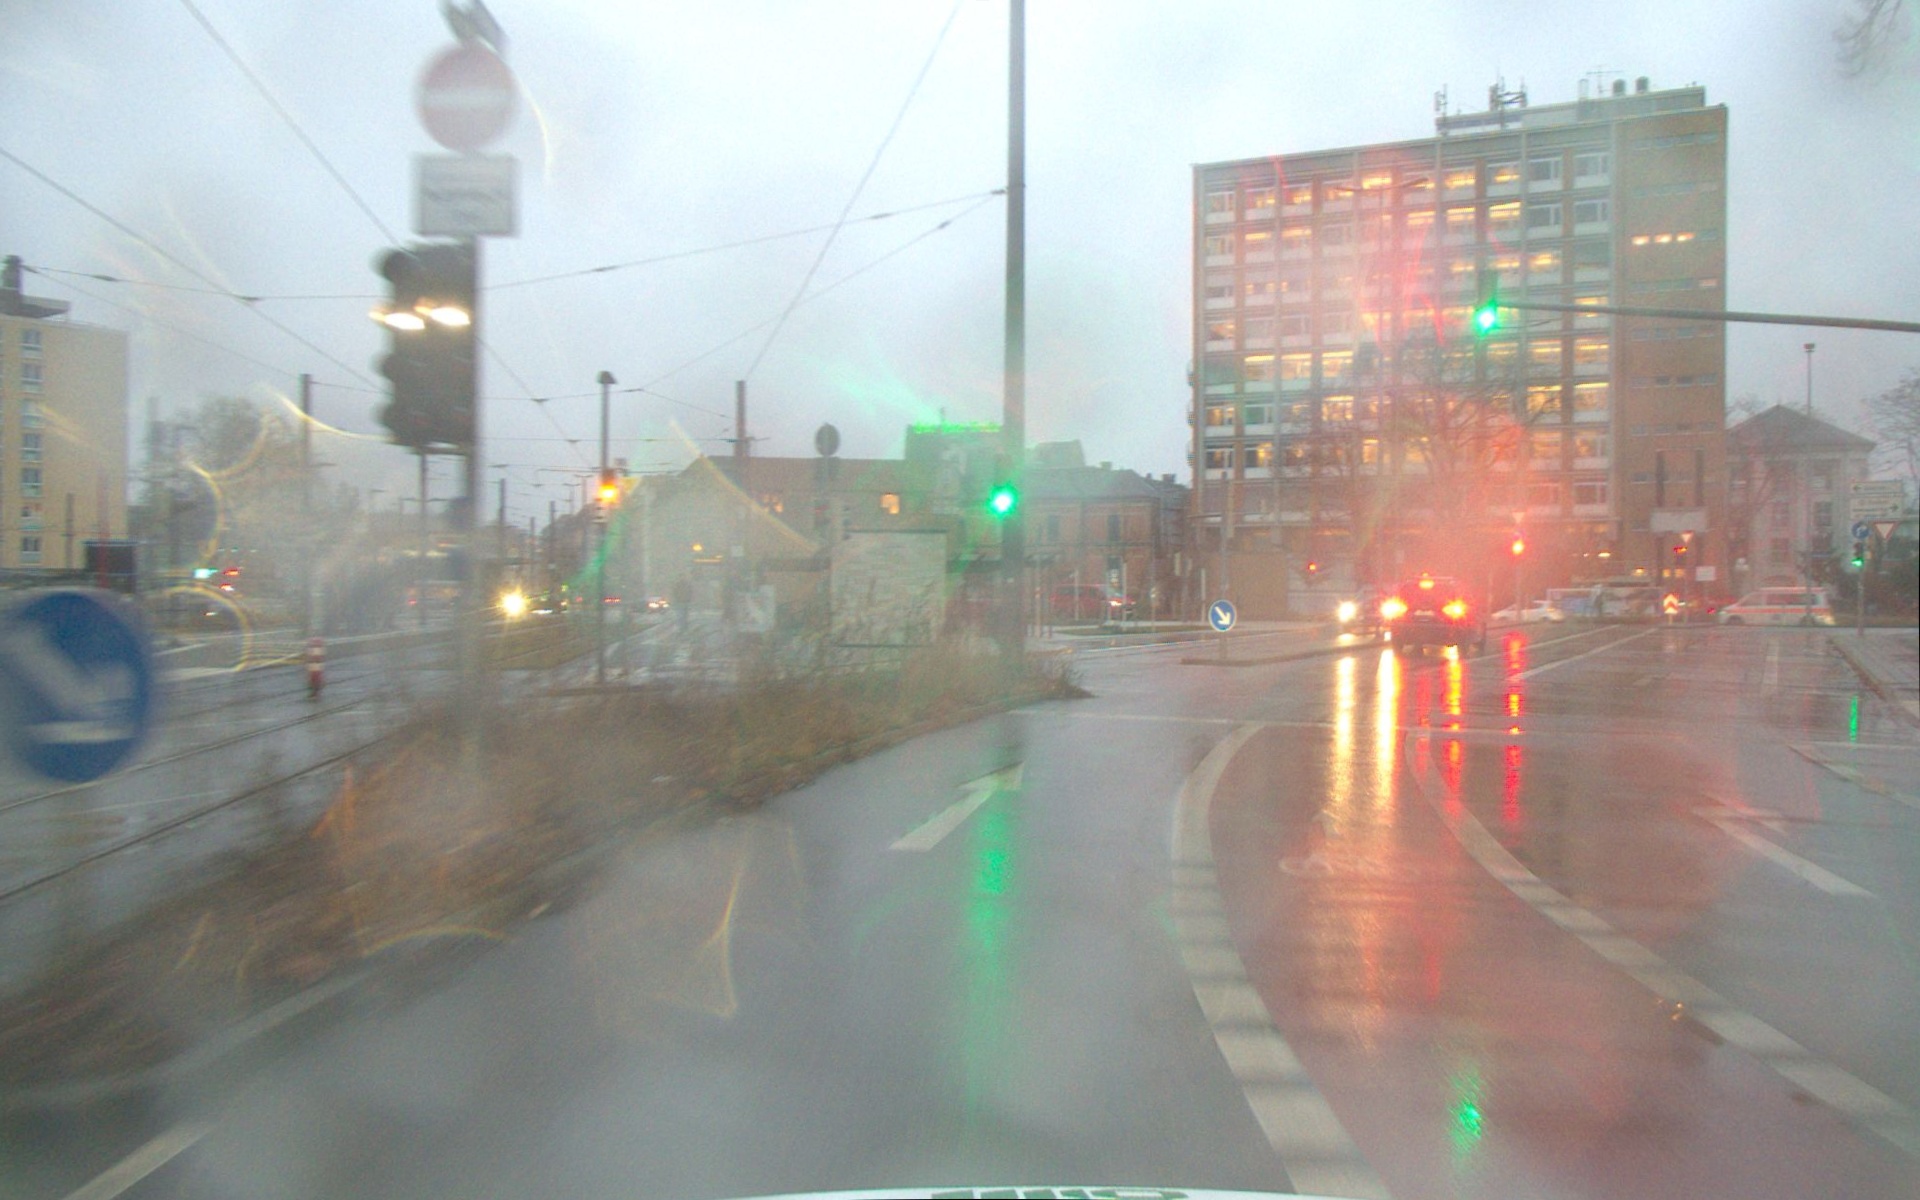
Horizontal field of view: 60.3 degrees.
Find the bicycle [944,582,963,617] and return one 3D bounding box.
[{"bbox_3d":[-0.221,0.004,58.122,0.538,1.185,1.898,2,-1,-3],"label":"bicycle"}]

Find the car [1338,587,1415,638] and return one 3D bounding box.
[{"bbox_3d":[14.369,0.401,56.885,1.719,1.691,4.526,-1,0,26],"label":"car"}]

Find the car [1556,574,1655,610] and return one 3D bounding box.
[{"bbox_3d":[40.452,-0.498,103.648,5.449,2.059,1.994,2,-1,33],"label":"car"}]

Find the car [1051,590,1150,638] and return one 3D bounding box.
[{"bbox_3d":[7.494,0.725,88.520,4.951,2.321,2.243,2,-1,44],"label":"car"}]

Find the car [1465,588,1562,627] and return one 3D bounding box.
[{"bbox_3d":[31.657,0.414,94.624,4.854,2.049,1.990,2,-1,39],"label":"car"}]

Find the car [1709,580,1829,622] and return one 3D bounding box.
[{"bbox_3d":[40.792,0.036,83.446,5.081,1.946,1.987,2,1,43],"label":"car"}]

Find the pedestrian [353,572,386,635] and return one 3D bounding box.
[{"bbox_3d":[-16.960,0.099,47.484,0.699,1.788,0.716,2,-1,-8],"label":"pedestrian"}]

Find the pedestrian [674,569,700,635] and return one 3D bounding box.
[{"bbox_3d":[-7.804,0.055,47.330,0.591,1.845,0.825,2,-1,-4],"label":"pedestrian"}]

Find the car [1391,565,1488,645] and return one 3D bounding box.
[{"bbox_3d":[11.993,0.104,41.217,1.615,1.850,3.996,2,1,26],"label":"car"}]

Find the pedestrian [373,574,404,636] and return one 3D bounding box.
[{"bbox_3d":[-17.183,0.154,49.751,0.699,1.838,0.716,2,-1,-8],"label":"pedestrian"}]

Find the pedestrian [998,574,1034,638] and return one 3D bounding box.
[{"bbox_3d":[1.536,0.162,45.139,0.660,1.703,0.729,2,-1,30],"label":"pedestrian"}]
